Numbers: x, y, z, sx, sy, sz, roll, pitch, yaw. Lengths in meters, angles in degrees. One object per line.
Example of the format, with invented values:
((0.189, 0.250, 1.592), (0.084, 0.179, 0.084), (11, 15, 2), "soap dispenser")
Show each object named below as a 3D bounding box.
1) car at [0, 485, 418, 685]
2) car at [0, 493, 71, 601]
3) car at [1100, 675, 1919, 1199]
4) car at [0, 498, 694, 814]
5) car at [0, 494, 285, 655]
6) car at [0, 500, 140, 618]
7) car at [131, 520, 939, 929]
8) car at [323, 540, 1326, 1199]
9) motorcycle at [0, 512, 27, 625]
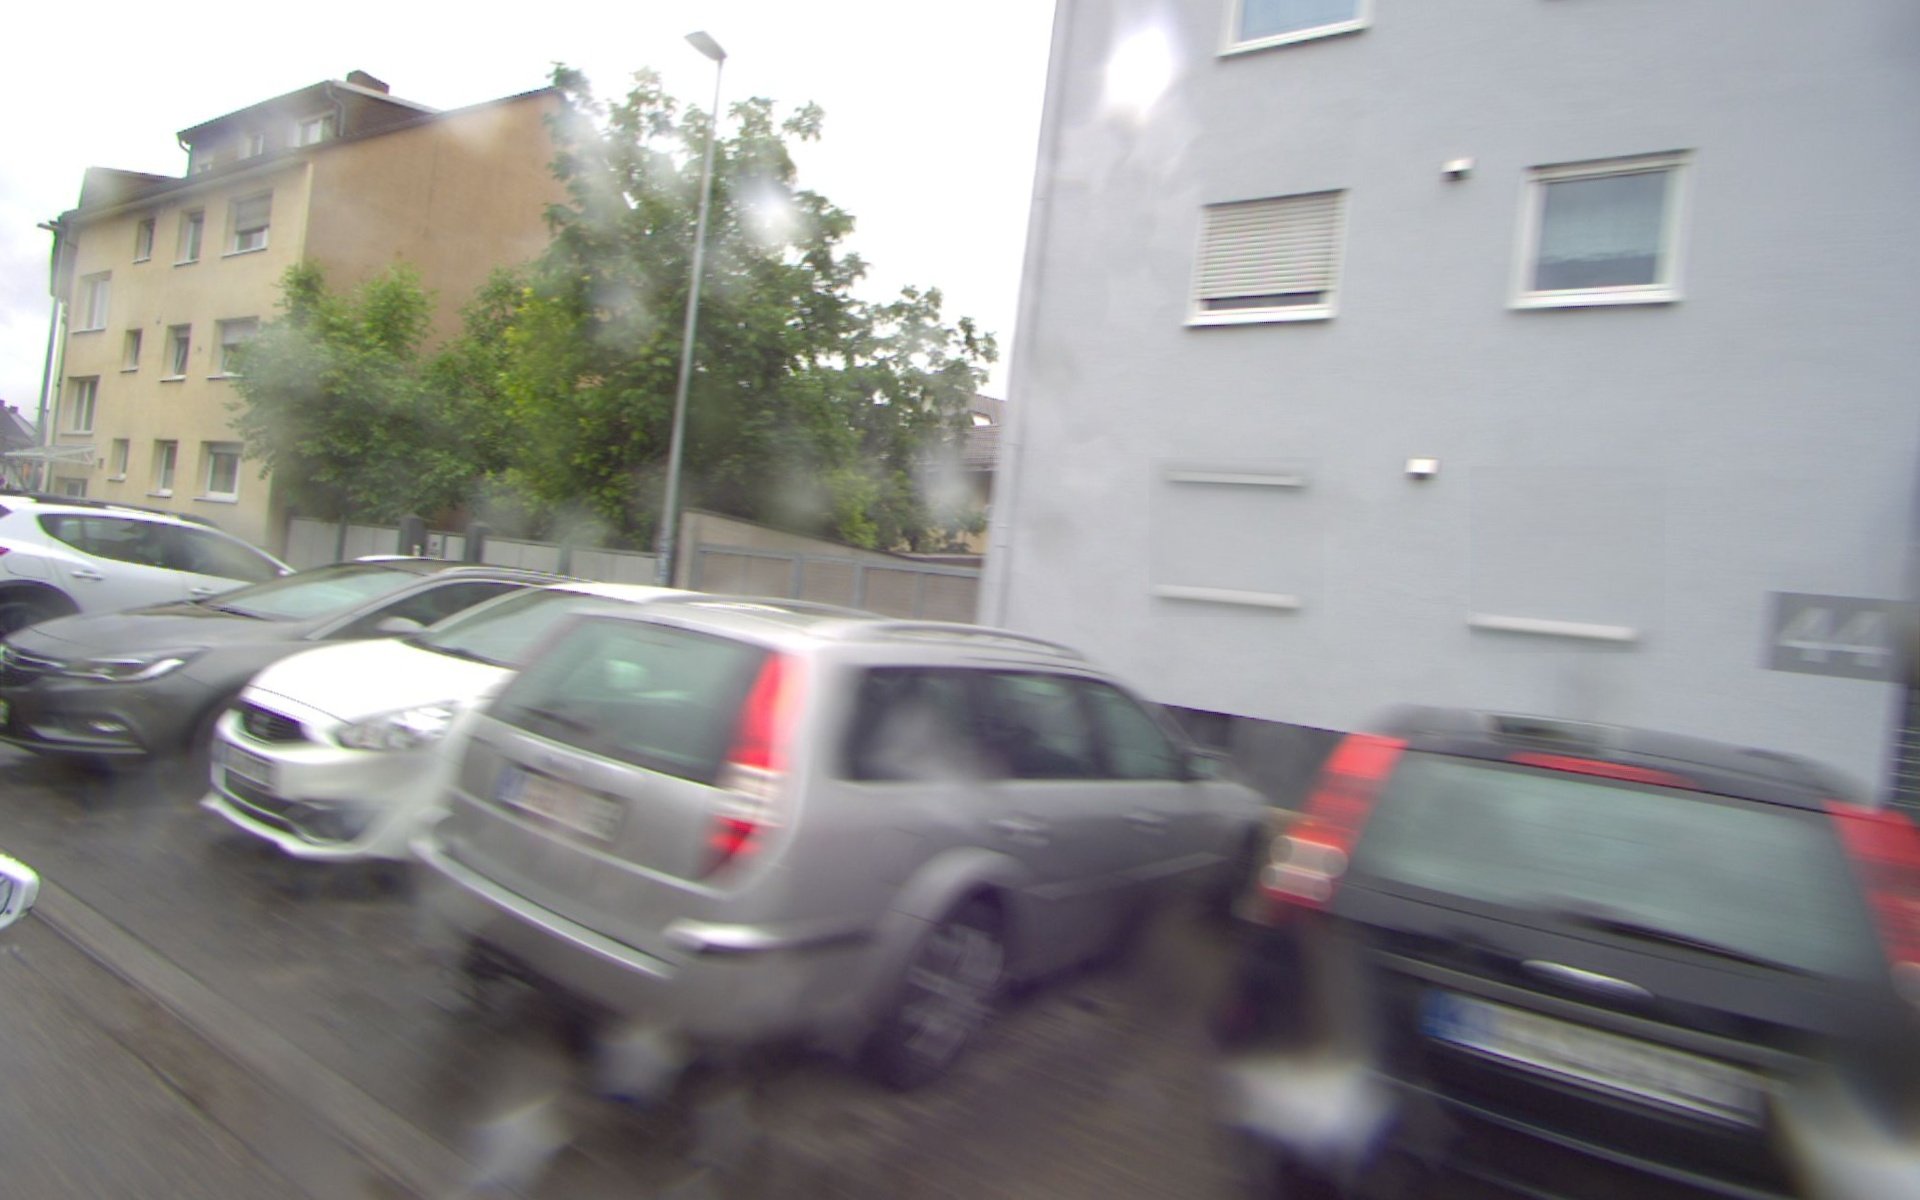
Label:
((-7.998, -0.096, 10.105), (1.873, 1.569, 3.997), (6, -2, 30), "car")
((-16.170, -1.049, 15.022), (1.720, 1.570, 3.988), (6, -3, 38), "car")
((2.205, 1.189, 3.735), (1.814, 1.428, 3.995), (7, -2, 31), "car")
((-4.035, 0.410, 7.007), (1.752, 1.482, 3.995), (7, -2, 31), "car")
((-10.241, -0.338, 11.226), (1.830, 1.507, 3.998), (6, -2, 28), "car")
((-14.150, -0.747, 13.817), (1.903, 1.478, 3.995), (6, -2, 32), "car")
((-2.058, 0.637, 5.977), (1.774, 1.490, 3.992), (6, -2, 34), "car")
((-0.055, 0.851, 4.556), (1.954, 1.471, 4.272), (7, -2, 37), "car")
((-12.350, -0.517, 11.357), (0.903, 1.339, 2.406), (6, -2, 27), "motorcycle")
